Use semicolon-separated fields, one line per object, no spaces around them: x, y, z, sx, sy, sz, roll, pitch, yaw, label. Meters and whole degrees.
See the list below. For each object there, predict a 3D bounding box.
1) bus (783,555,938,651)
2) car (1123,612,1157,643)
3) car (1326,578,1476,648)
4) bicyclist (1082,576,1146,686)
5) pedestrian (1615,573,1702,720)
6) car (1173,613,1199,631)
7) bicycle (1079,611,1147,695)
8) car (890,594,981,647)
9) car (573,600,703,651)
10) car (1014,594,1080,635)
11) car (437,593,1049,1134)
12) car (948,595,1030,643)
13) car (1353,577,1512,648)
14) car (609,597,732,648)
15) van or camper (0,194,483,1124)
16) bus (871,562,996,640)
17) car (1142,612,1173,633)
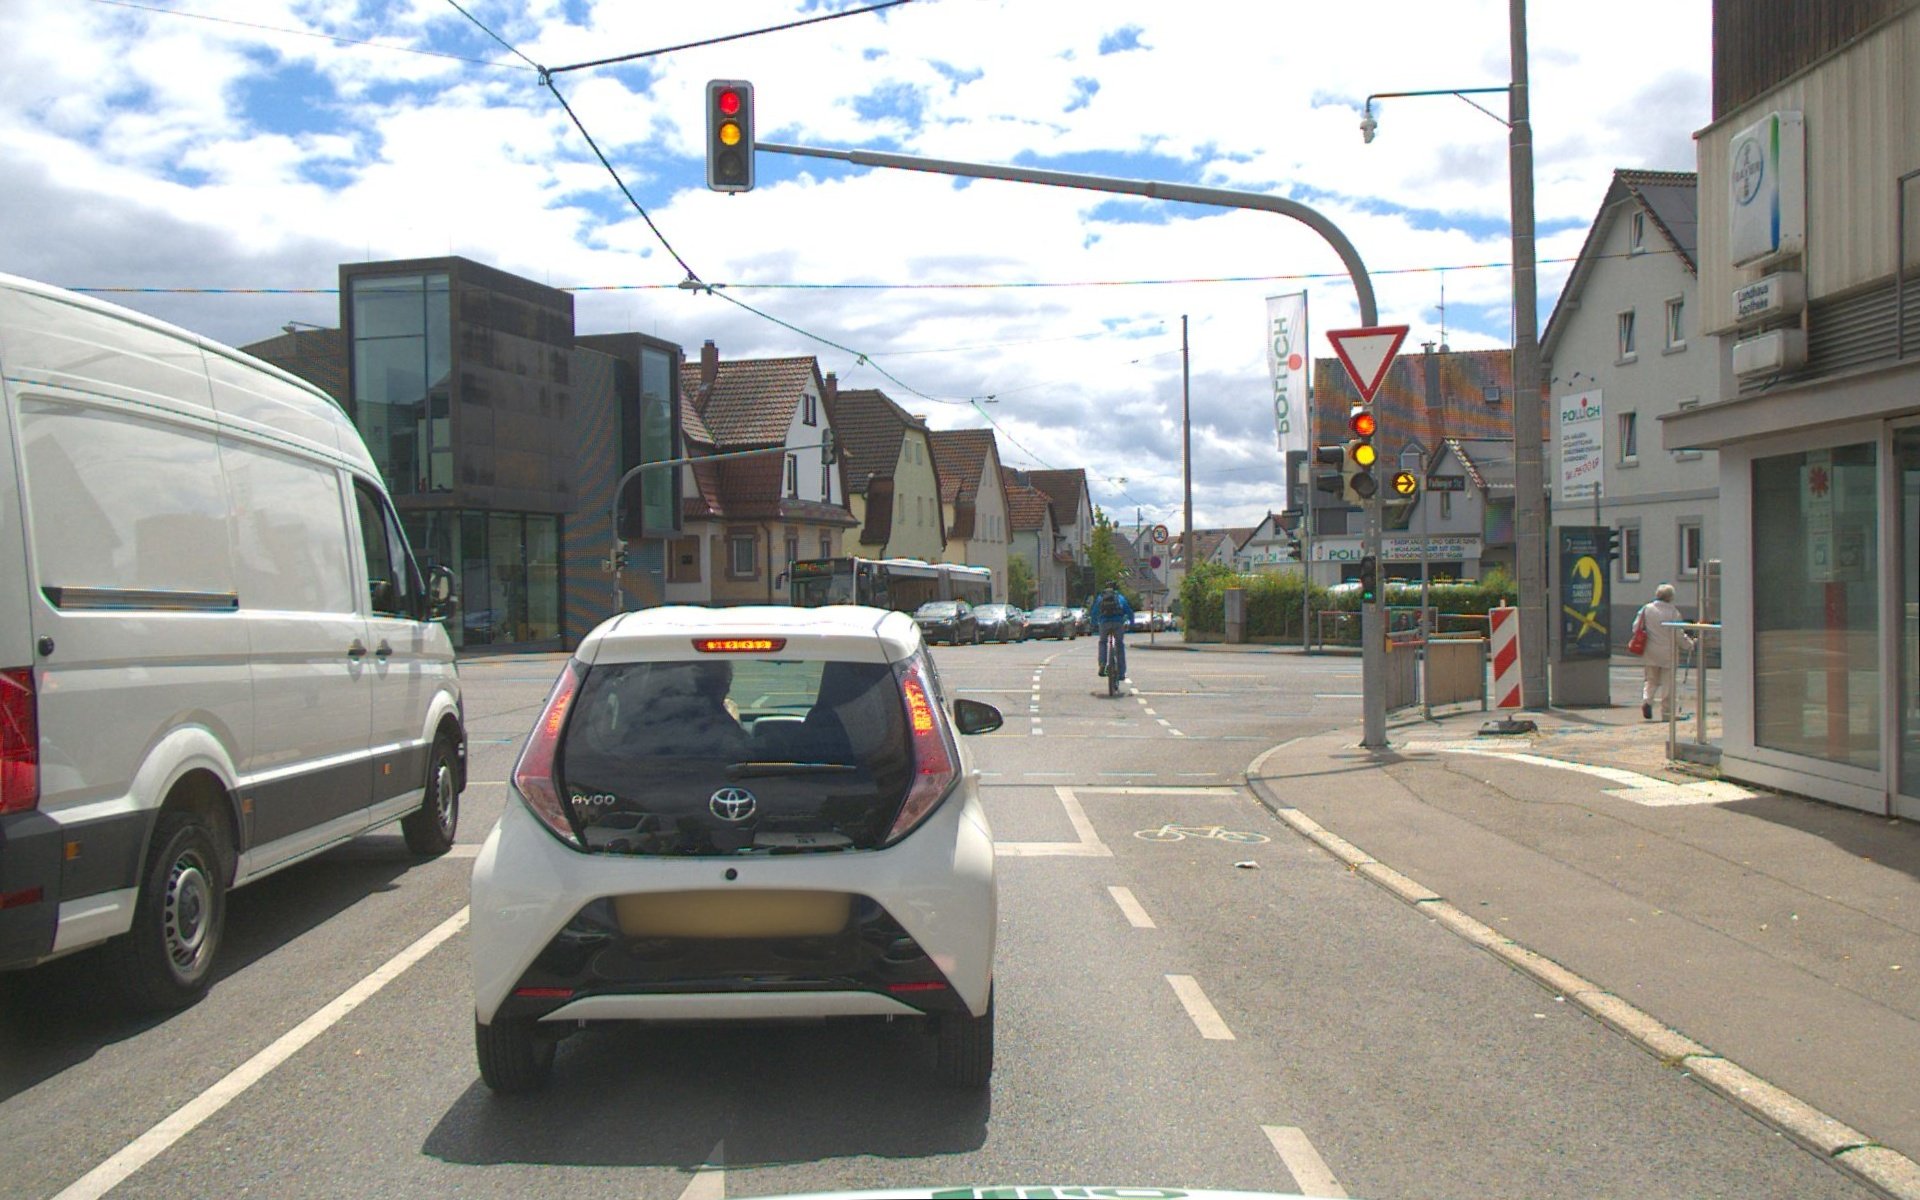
-3.310;0.072;58.061;2.719;3.113;9.198;0;0;15;bus
12.374;1.894;113.615;1.951;2.049;4.003;0;0;12;car
13.206;0.387;49.644;3.913;2.049;1.996;0;0;-9;car
2.412;0.475;25.985;0.823;1.642;1.083;2;0;-1;bicyclist
8.105;0.523;19.228;0.816;1.666;0.874;0;0;16;pedestrian
22.271;2.117;162.728;1.951;1.668;4.003;0;0;16;car
2.392;0.816;26.094;0.815;1.184;2.191;2;1;-1;bicycle
-0.771;0.647;55.253;1.951;1.668;4.003;0;0;16;car
-11.109;0.852;57.182;3.902;1.668;2.002;1;0;13;car
3.779;0.595;71.326;1.951;1.668;4.003;0;0;16;car
-0.688;0.724;6.409;1.703;1.486;3.530;0;0;-3;car
1.113;0.673;60.433;1.951;1.668;4.186;0;0;16;car
13.420;0.352;47.074;3.914;1.982;1.995;0;0;-10;car
-10.502;0.815;60.104;3.902;1.713;2.002;-1;0;13;car
-3.880;0.177;7.418;2.065;2.632;5.641;-2;0;-3;van or camper
-0.917;0.014;67.035;2.719;2.965;9.198;0;0;15;bus
16.607;1.910;139.219;1.951;1.668;4.003;0;0;16;car
